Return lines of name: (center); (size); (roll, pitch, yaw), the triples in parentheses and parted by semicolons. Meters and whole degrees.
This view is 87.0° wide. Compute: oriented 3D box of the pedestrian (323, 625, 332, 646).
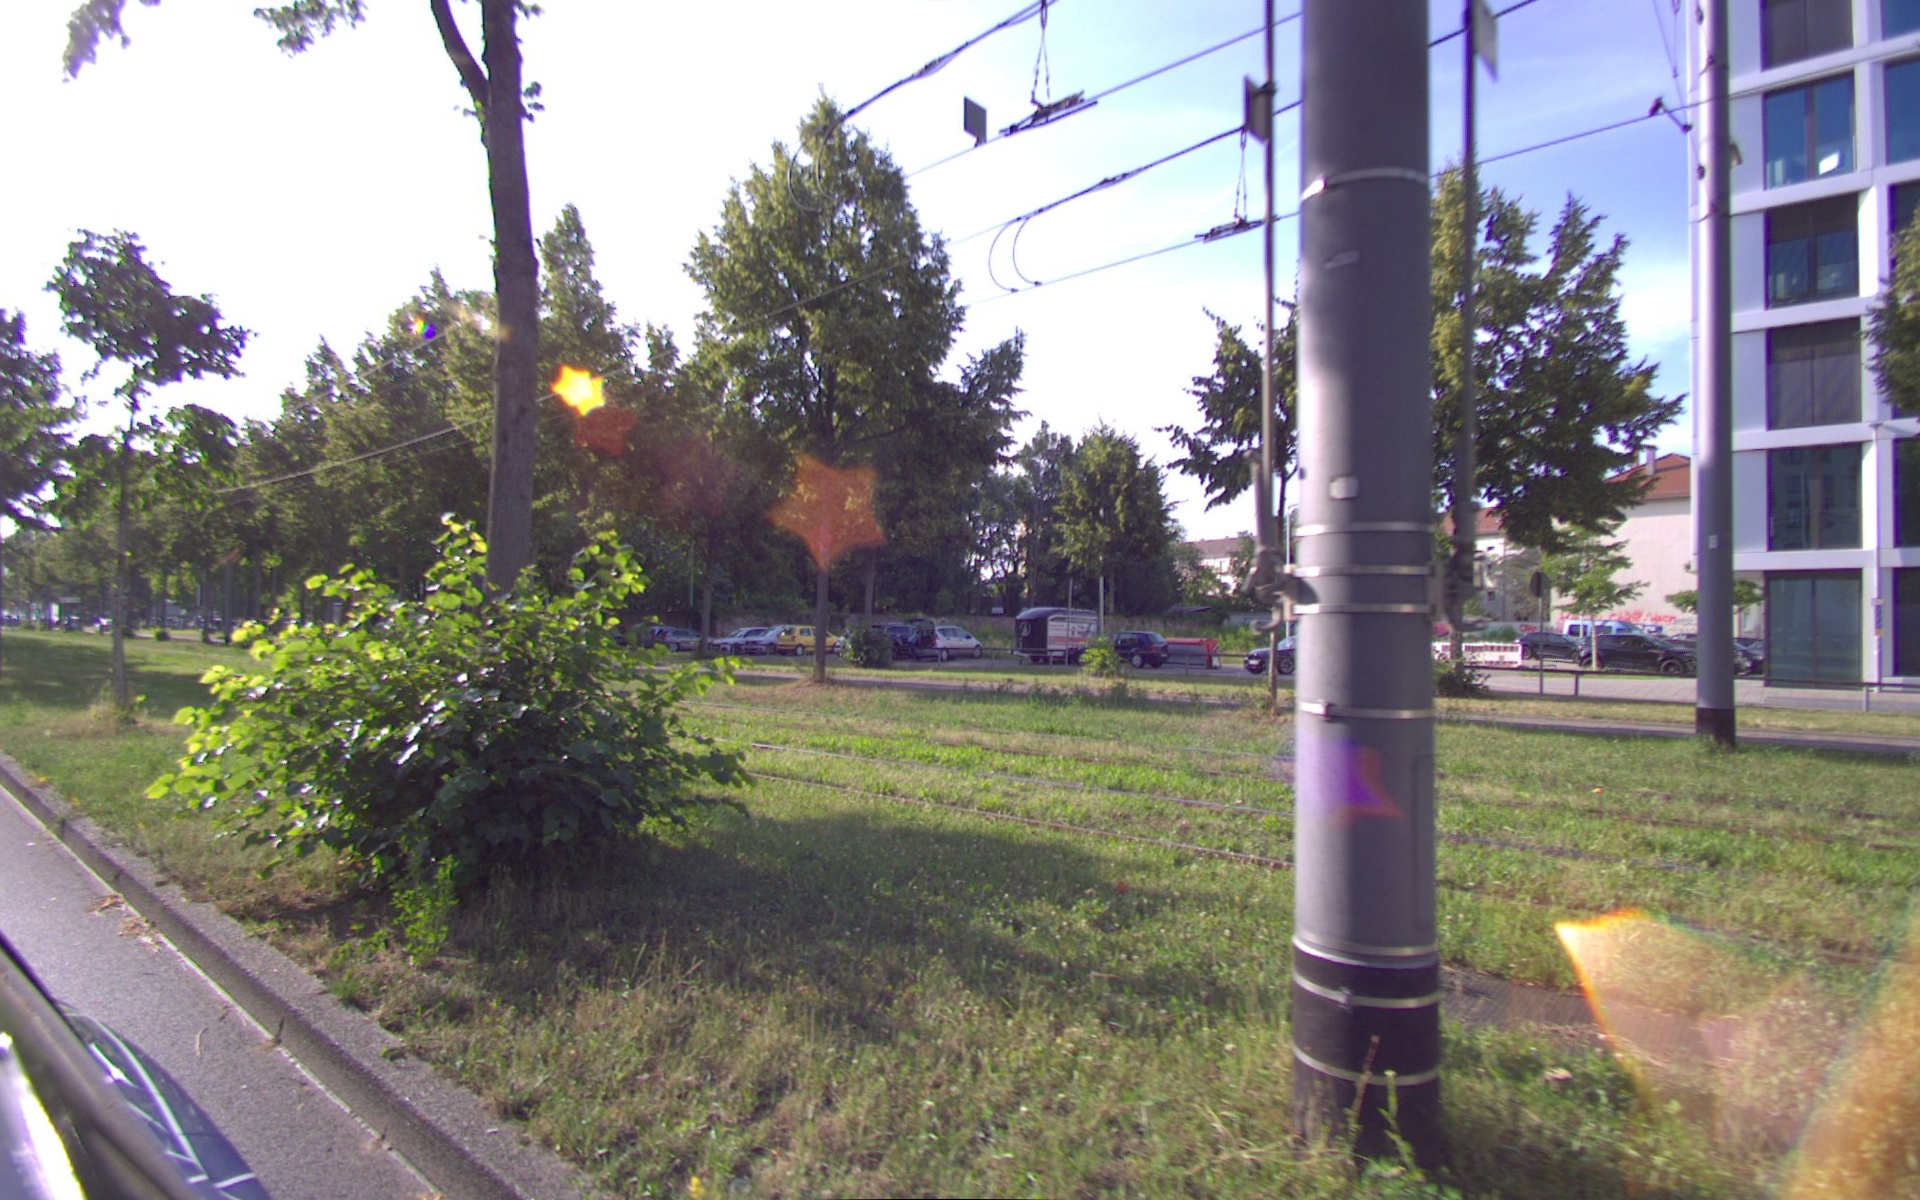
pedestrian: (-45.345, 2.546, 72.571); (0.601, 1.487, 0.382); (0, 0, 41)

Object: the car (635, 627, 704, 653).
car: (-18.483, 2.514, 64.455); (3.810, 1.497, 1.746); (-1, 0, -41)

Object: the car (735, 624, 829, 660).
car: (-9.751, 2.286, 55.807); (1.886, 1.748, 5.004); (0, 0, 43)

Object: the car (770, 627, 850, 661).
car: (-7.990, 2.322, 54.097); (1.856, 1.572, 3.943); (0, 0, 43)

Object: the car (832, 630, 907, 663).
car: (-4.547, 2.312, 51.044); (1.725, 1.436, 3.530); (0, 0, 42)

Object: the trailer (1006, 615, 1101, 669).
trailer: (4.041, 1.750, 43.308); (1.758, 2.069, 4.315); (0, 0, 44)

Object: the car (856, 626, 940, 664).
car: (-2.956, 2.129, 48.734); (1.757, 1.655, 3.950); (0, 0, 42)

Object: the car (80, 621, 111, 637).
car: (-88.057, 2.946, 103.106); (4.811, 1.487, 1.664); (0, -4, 42)

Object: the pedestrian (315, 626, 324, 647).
pedestrian: (-45.699, 2.582, 72.184); (0.601, 1.487, 0.382); (0, 0, 41)

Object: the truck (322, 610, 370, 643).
truck: (-68.166, 2.878, 112.241); (2.855, 3.542, 7.950); (-1, 0, -44)

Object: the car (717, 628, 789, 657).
car: (-11.753, 2.375, 57.518); (1.810, 1.439, 3.607); (0, 0, 43)

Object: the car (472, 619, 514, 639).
car: (-36.545, 2.271, 79.193); (3.912, 1.453, 1.699); (0, 0, 44)

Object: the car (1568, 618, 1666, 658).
car: (38.598, 2.195, 59.547); (1.824, 2.175, 4.505); (-1, 0, -37)

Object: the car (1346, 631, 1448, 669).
car: (19.993, 2.257, 46.471); (1.662, 1.569, 4.009); (-1, 0, -37)

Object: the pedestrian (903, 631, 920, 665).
pedestrian: (-2.197, 2.170, 45.513); (0.568, 1.491, 0.516); (0, 0, 40)

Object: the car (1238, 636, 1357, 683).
car: (12.082, 2.094, 36.255); (3.931, 1.437, 1.782); (-1, 0, -27)

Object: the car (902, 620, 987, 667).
car: (-0.676, 1.951, 46.609); (1.757, 1.962, 3.950); (0, 0, 42)

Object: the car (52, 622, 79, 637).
car: (-88.953, 2.881, 100.633); (3.695, 1.403, 1.566); (0, 0, 42)

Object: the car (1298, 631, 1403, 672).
car: (17.393, 2.271, 45.184); (1.824, 1.608, 4.008); (-1, 0, -38)

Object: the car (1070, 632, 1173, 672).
car: (6.411, 2.030, 40.362); (3.757, 1.403, 1.663); (0, 0, 38)

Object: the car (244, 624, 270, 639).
car: (-67.618, 3.035, 97.295); (1.564, 1.286, 3.964); (-1, 0, -42)

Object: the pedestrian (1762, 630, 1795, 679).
pedestrian: (28.799, 1.906, 35.602); (0.582, 1.641, 0.636); (-5, 2, -25)

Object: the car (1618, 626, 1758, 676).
car: (28.035, 1.906, 39.078); (1.829, 1.684, 4.011); (-1, 0, -33)

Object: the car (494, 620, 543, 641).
car: (-32.648, 2.243, 74.718); (4.362, 1.453, 1.766); (0, 0, 44)

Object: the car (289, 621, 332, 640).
car: (-52.335, 2.452, 81.521); (4.474, 1.442, 1.811); (0, 0, 43)

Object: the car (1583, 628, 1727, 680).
car: (25.791, 1.957, 37.685); (1.829, 1.684, 4.011); (-1, 0, -33)

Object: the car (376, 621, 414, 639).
car: (-53.554, 2.819, 95.900); (4.474, 1.624, 1.811); (0, 0, 43)

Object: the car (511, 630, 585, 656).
car: (-24.539, 2.558, 60.318); (4.002, 1.446, 1.677); (0, 0, 18)
